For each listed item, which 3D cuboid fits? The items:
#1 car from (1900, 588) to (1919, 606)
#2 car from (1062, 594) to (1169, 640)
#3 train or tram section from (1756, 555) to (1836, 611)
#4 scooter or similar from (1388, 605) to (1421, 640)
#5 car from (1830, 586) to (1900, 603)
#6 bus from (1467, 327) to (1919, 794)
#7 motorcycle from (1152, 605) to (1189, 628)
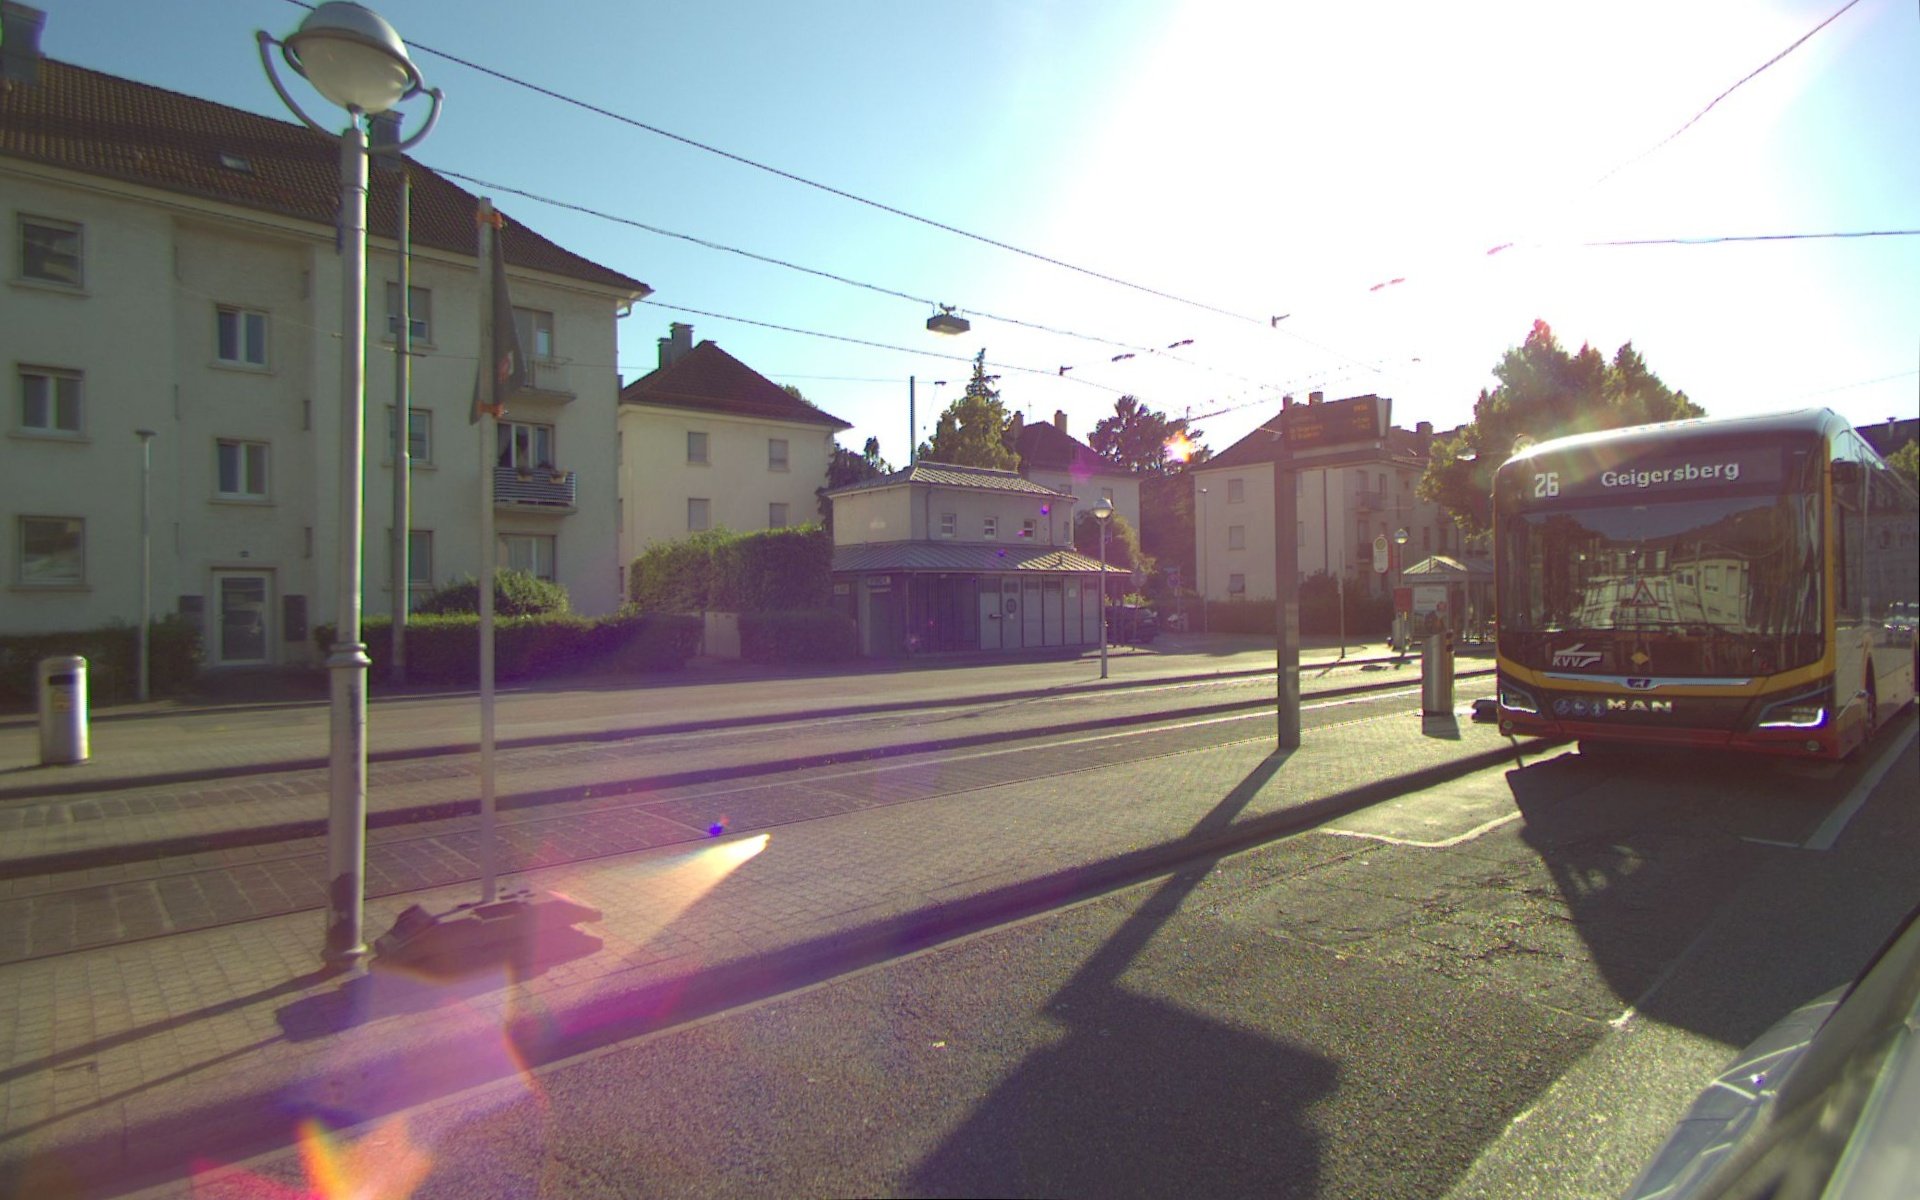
[{"bbox_3d":[81.224,-0.293,84.177,1.574,1.481,4.212,-1,-2,-11],"label":"car"},{"bbox_3d":[6.630,0.679,43.568,1.964,1.791,4.450,-1,1,-38],"label":"car"},{"bbox_3d":[56.858,-1.113,68.673,2.958,3.465,13.246,0,0,45],"label":"train or tram section"},{"bbox_3d":[15.990,0.799,36.390,1.185,1.223,0.468,-1,-1,-31],"label":"scooter or similar"},{"bbox_3d":[79.874,-0.446,89.380,1.895,1.364,4.133,-1,-1,-15],"label":"car"},{"bbox_3d":[10.014,-0.307,12.521,11.815,3.460,2.691,0,-1,-43],"label":"bus"},{"bbox_3d":[10.773,0.837,51.874,0.549,1.177,1.822,0,-1,-44],"label":"motorcycle"}]
